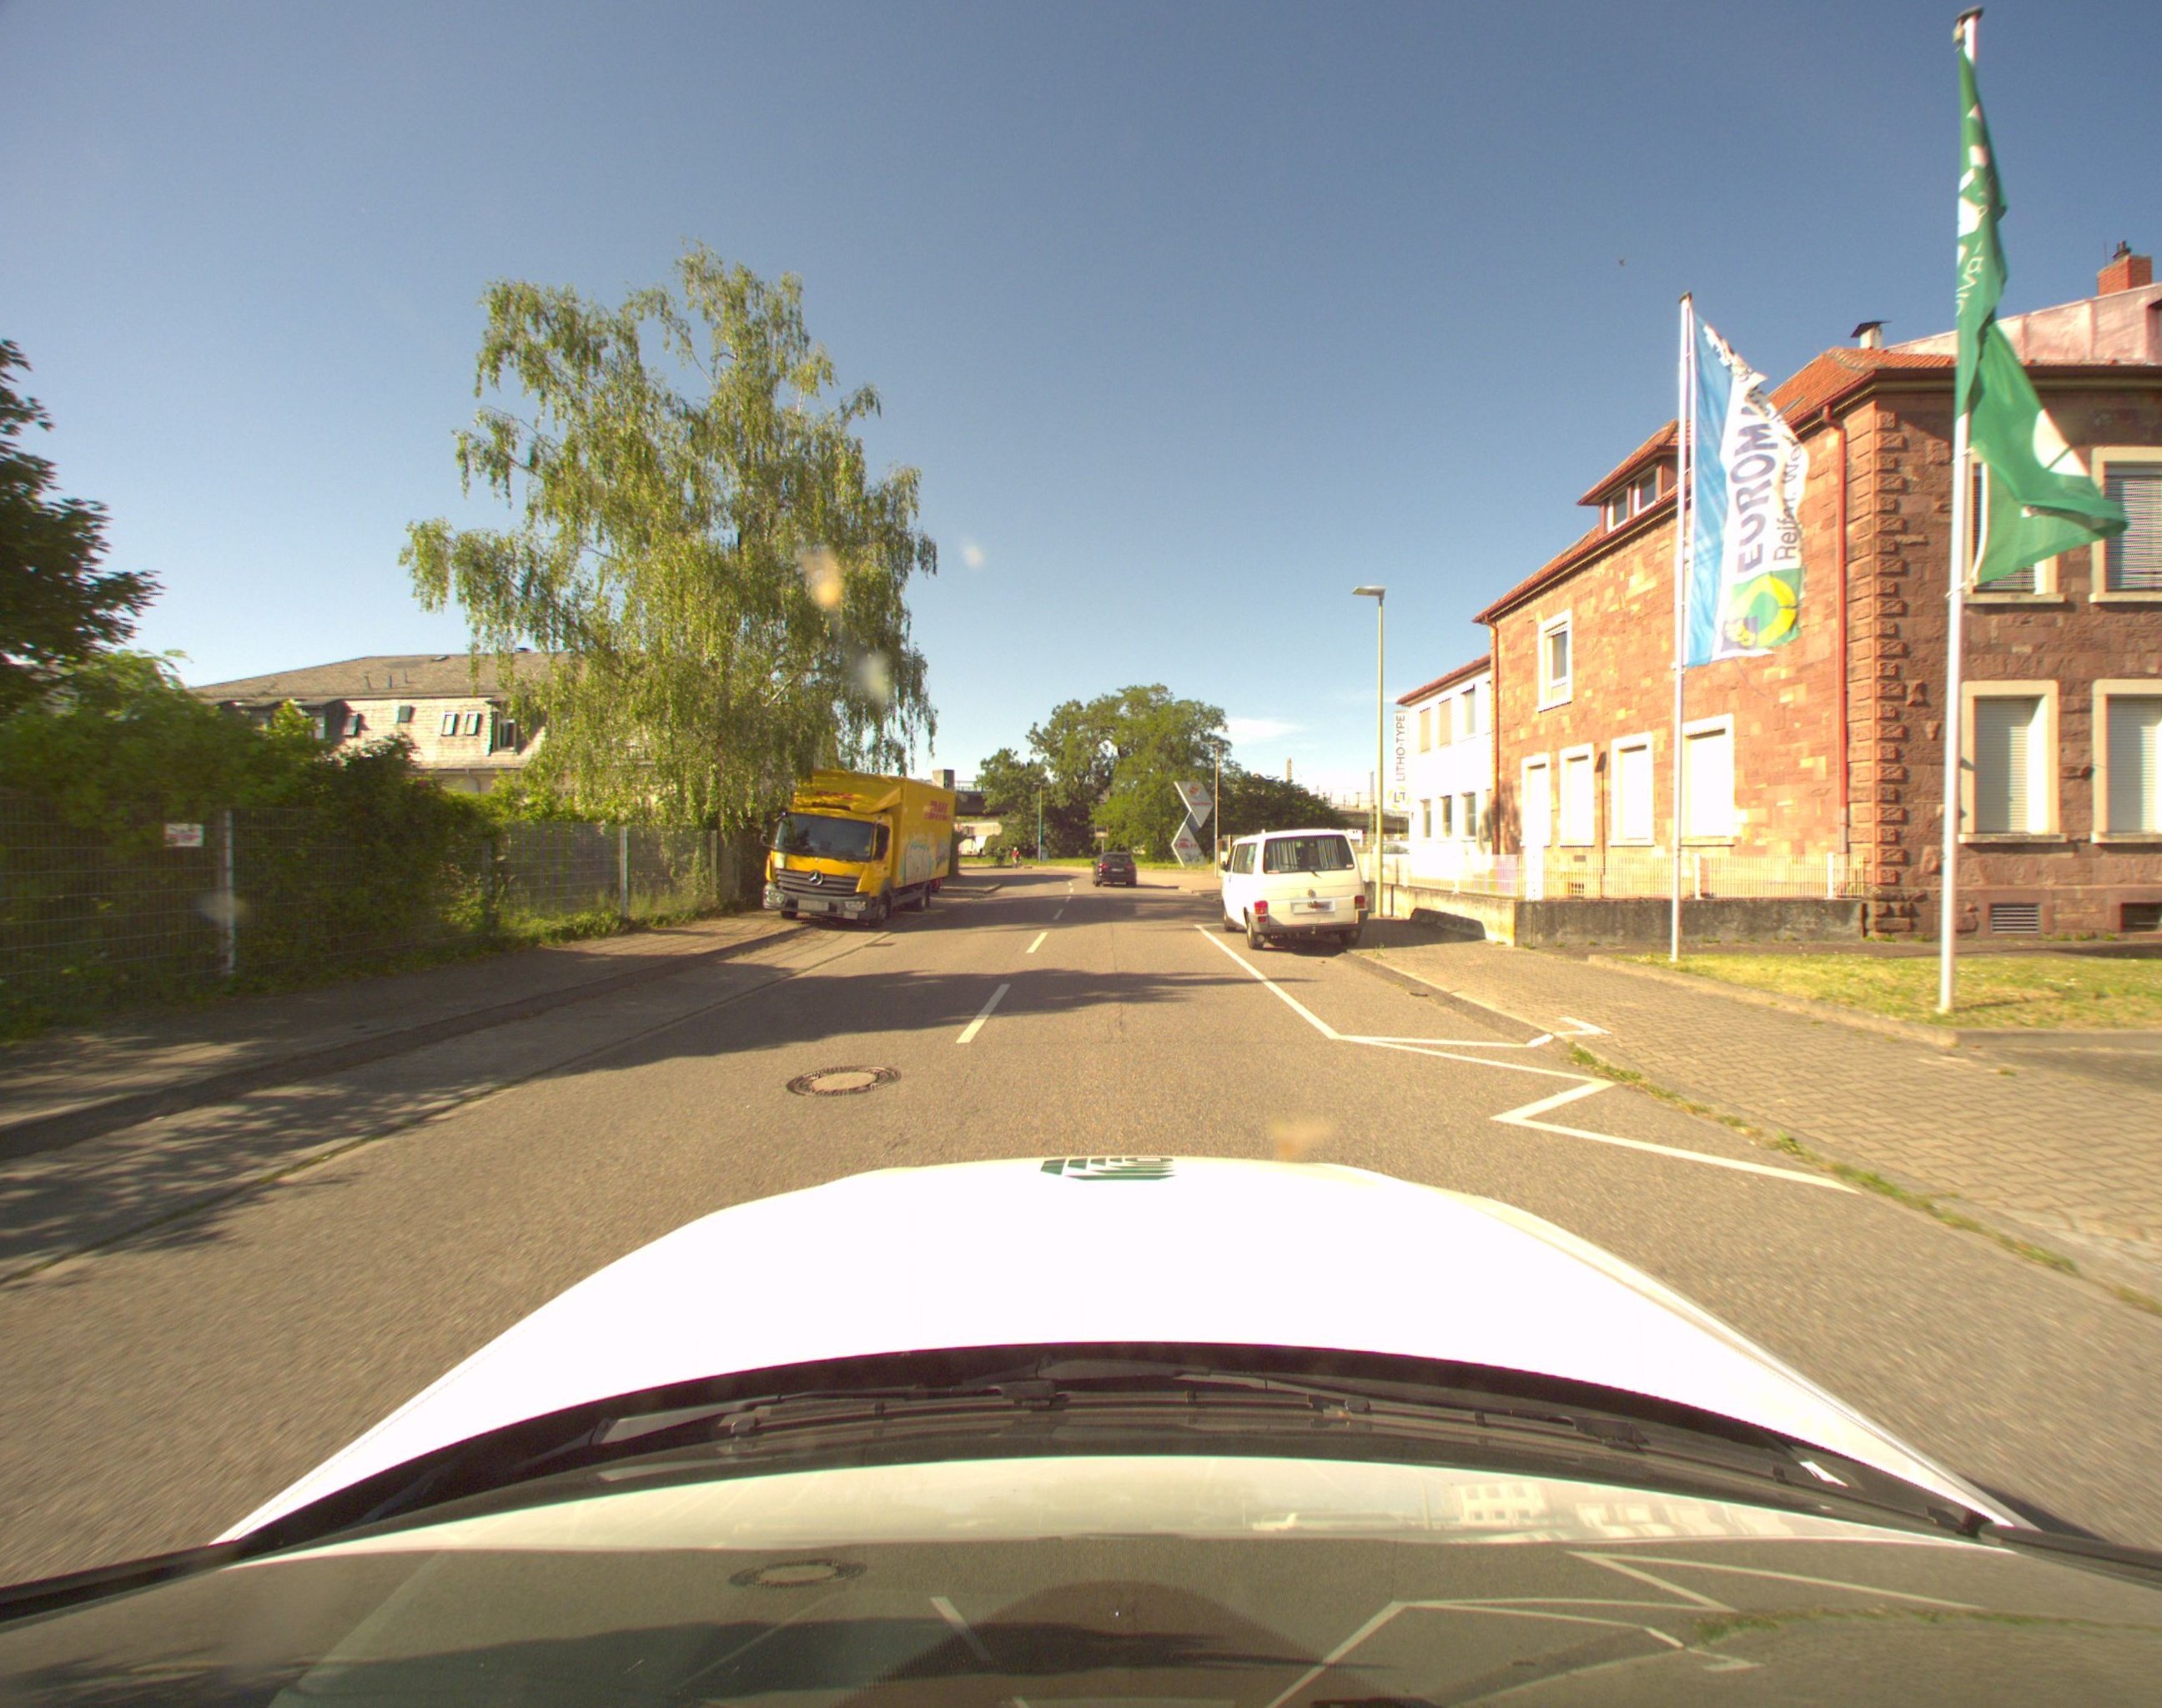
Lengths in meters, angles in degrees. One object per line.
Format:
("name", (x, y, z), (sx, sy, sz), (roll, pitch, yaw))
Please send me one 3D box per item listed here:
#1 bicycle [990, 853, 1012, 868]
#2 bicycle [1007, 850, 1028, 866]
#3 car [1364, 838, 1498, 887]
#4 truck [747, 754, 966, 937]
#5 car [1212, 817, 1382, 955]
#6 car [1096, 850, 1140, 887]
("bicycle", (-7.065, 0.580, 71.897), (0.810, 1.221, 2.233), (2, -1, -38))
("bicycle", (-5.347, 0.311, 68.655), (0.809, 1.268, 2.235), (2, -1, -33))
("car", (15.238, 0.351, 35.712), (1.890, 2.013, 5.099), (-1, 0, -41))
("truck", (-5.209, -0.258, 20.996), (2.622, 3.504, 8.662), (6, 1, 2))
("car", (3.619, 0.492, 14.683), (1.867, 2.014, 5.163), (1, 0, 2))
("car", (1.581, 0.592, 35.524), (1.840, 1.530, 4.001), (0, 0, 1))
